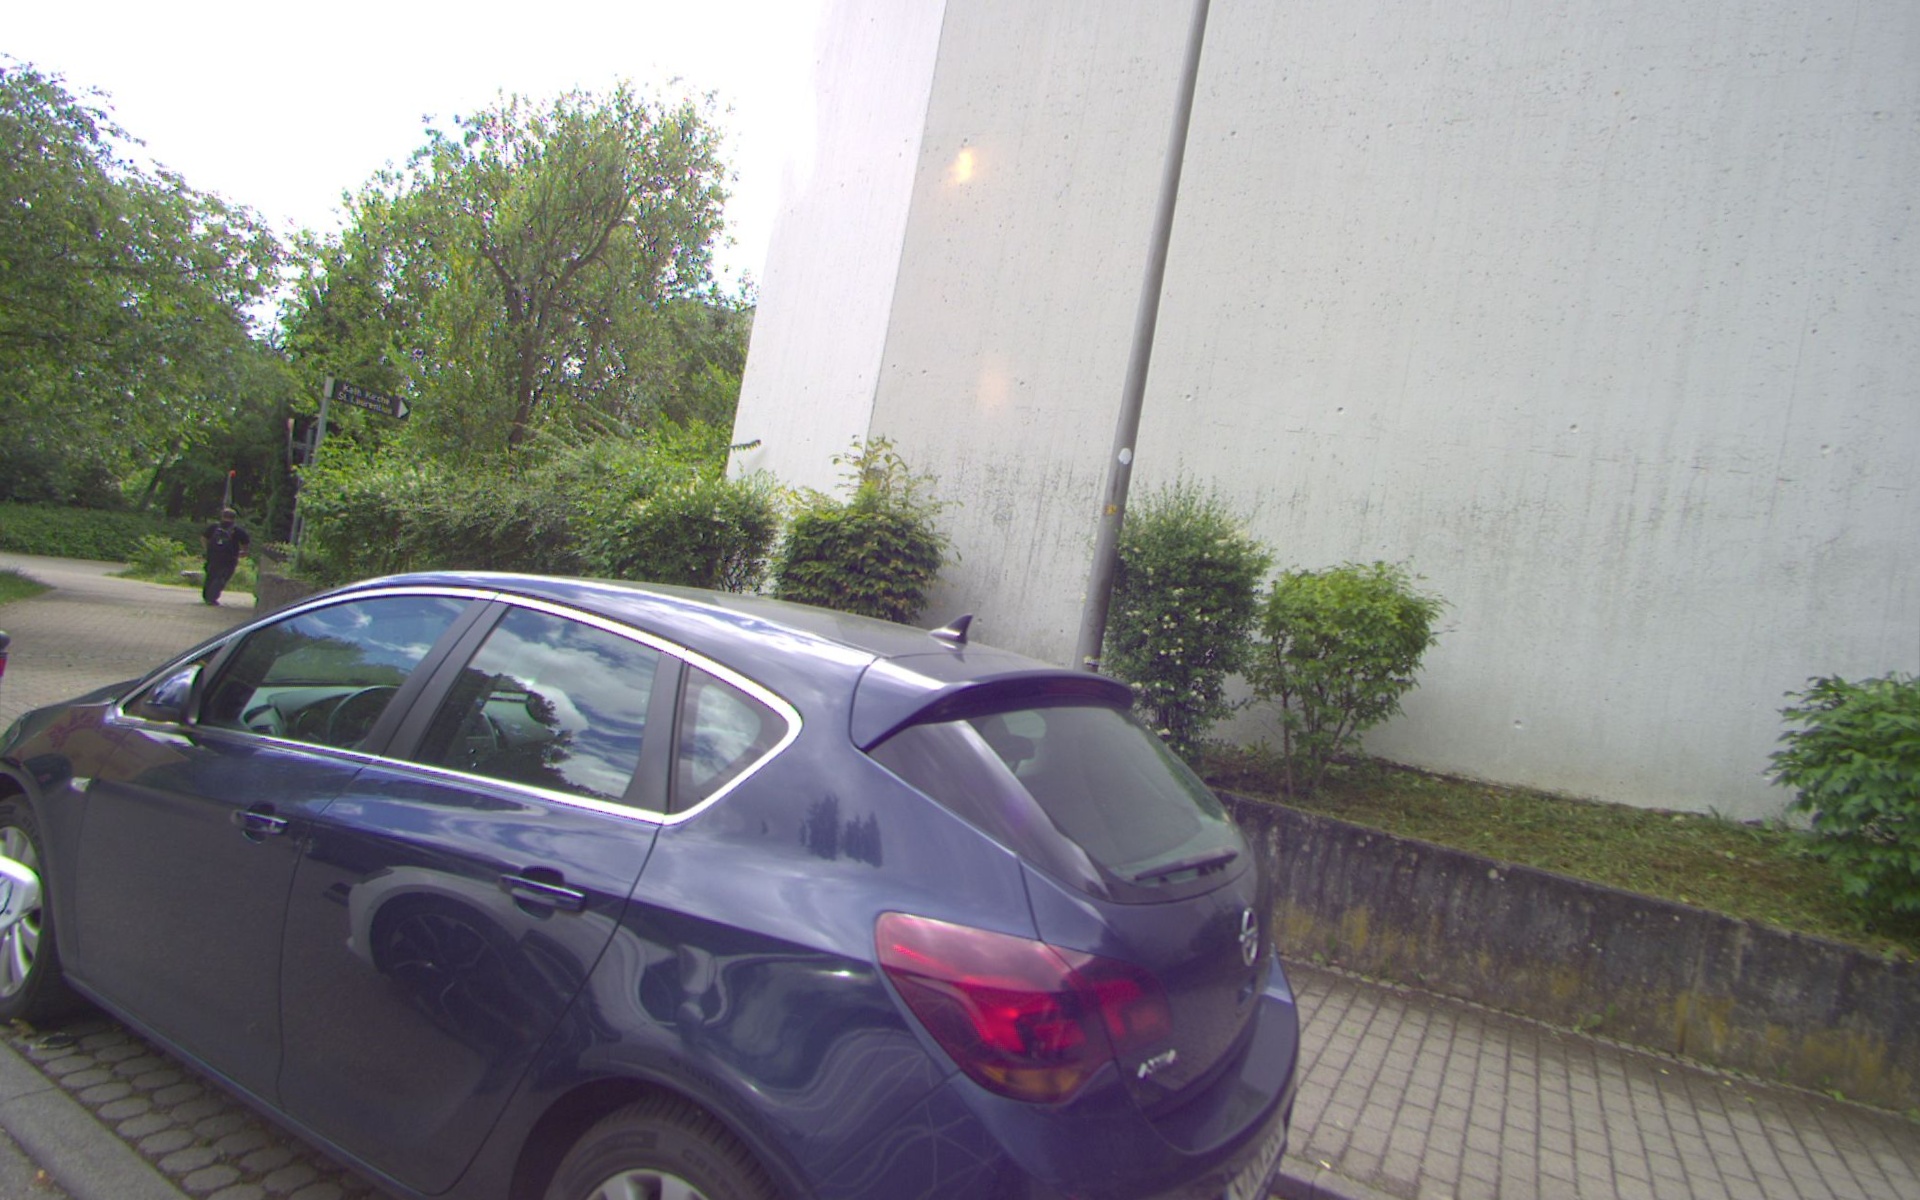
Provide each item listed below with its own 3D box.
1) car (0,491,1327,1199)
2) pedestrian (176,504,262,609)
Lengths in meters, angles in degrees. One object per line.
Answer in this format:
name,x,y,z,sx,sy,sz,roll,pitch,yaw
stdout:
car,-1.209,0.618,2.921,3.932,1.437,1.694,7,-1,30
pedestrian,-13.497,-0.786,18.335,0.772,1.757,0.834,6,-1,26
